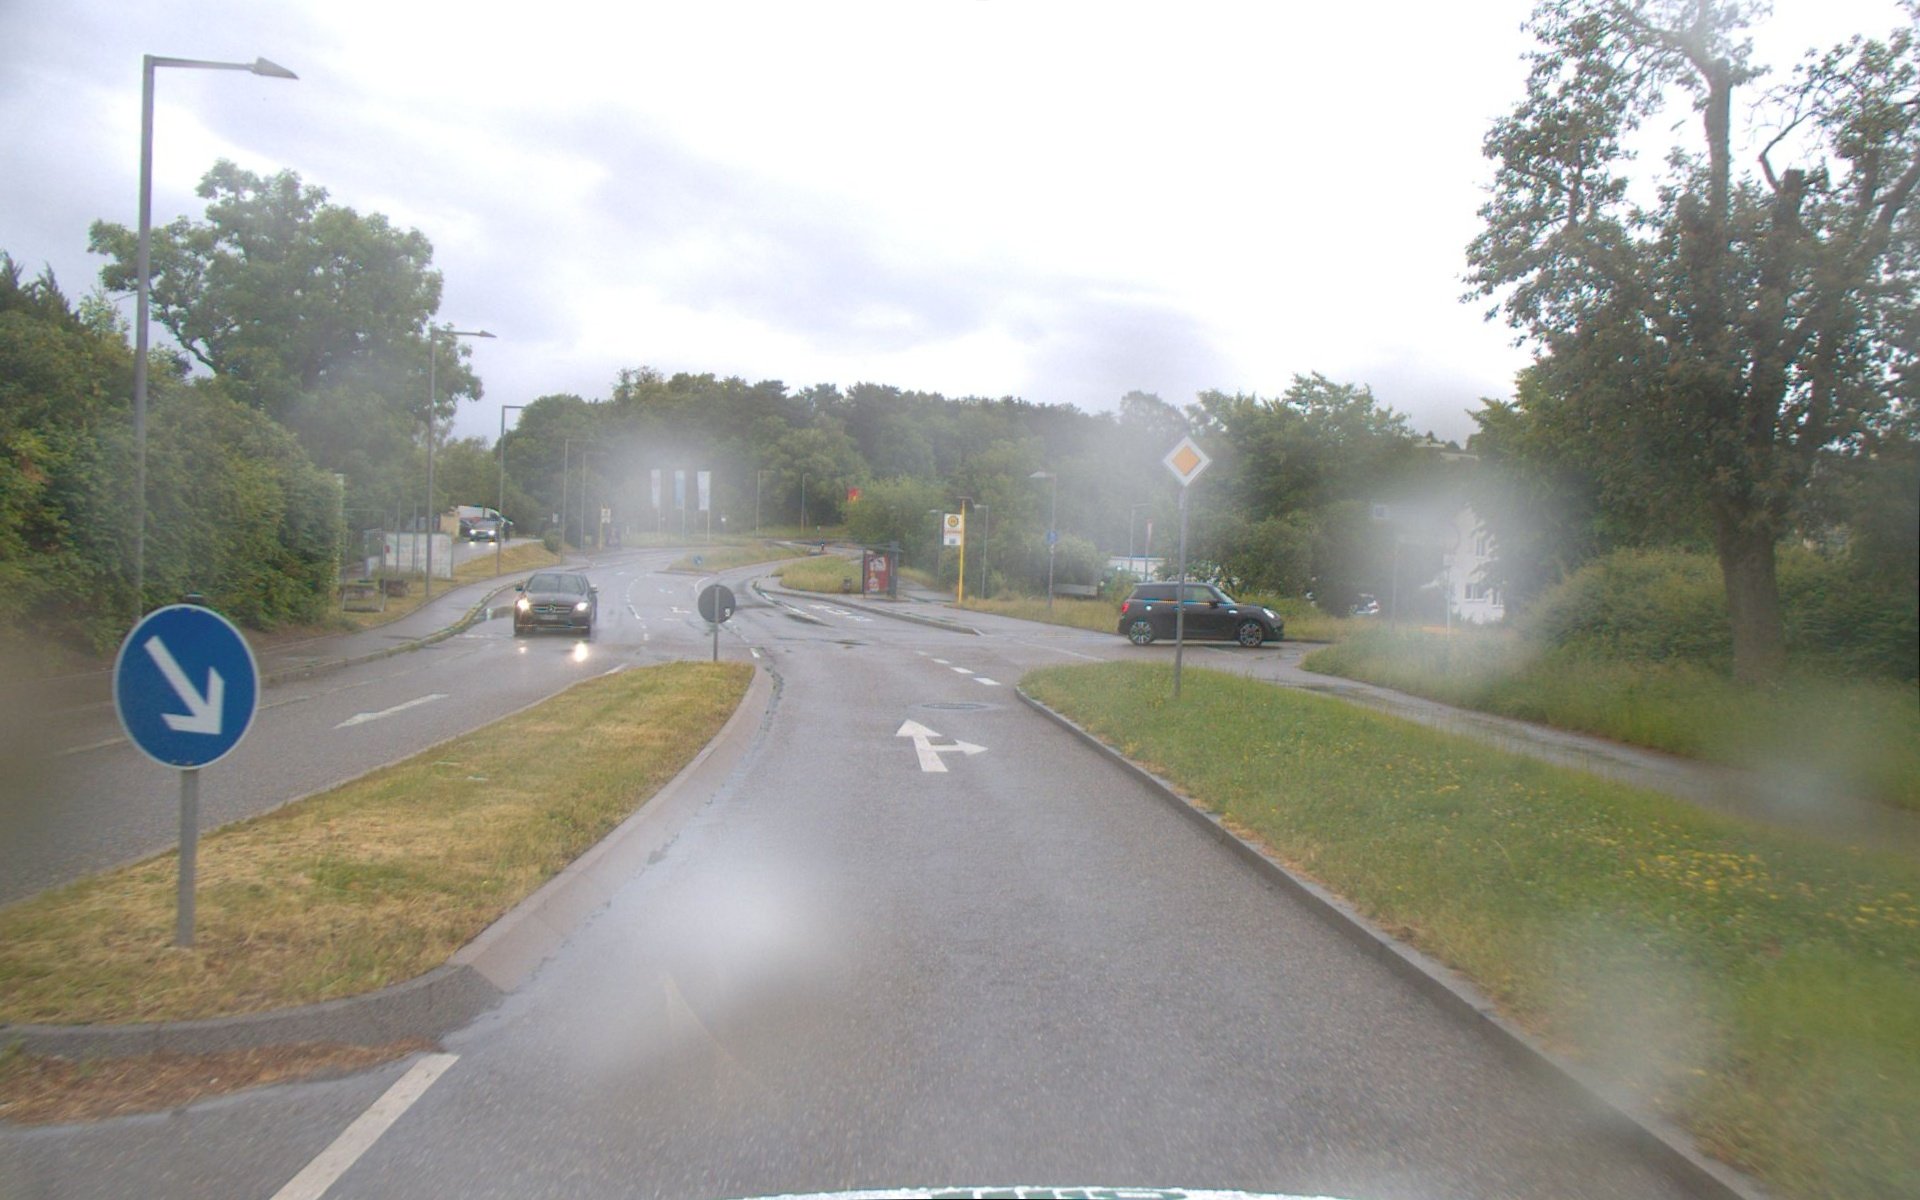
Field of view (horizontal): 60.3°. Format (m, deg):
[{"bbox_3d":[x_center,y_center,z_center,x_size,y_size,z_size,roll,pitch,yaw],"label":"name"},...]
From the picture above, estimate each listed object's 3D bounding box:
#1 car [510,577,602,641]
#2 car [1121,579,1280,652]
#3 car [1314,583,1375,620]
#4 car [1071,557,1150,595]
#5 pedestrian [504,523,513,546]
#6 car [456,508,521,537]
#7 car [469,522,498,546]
[{"bbox_3d":[-9.841,0.184,40.564,1.932,1.438,4.404,-1,1,-11],"label":"car"},{"bbox_3d":[5.477,0.337,37.646,3.448,1.379,1.461,4,1,10],"label":"car"},{"bbox_3d":[18.011,0.057,77.711,1.891,1.534,4.001,1,2,0],"label":"car"},{"bbox_3d":[7.400,-1.164,81.384,3.358,1.720,1.990,0,-3,39],"label":"car"},{"bbox_3d":[-34.217,-4.959,125.274,0.558,1.648,0.633,1,0,-22],"label":"pedestrian"},{"bbox_3d":[-44.016,-7.226,154.478,5.574,2.446,1.995,1,0,-11],"label":"car"},{"bbox_3d":[-35.655,-4.900,123.630,1.665,1.648,3.869,1,1,-22],"label":"car"}]
